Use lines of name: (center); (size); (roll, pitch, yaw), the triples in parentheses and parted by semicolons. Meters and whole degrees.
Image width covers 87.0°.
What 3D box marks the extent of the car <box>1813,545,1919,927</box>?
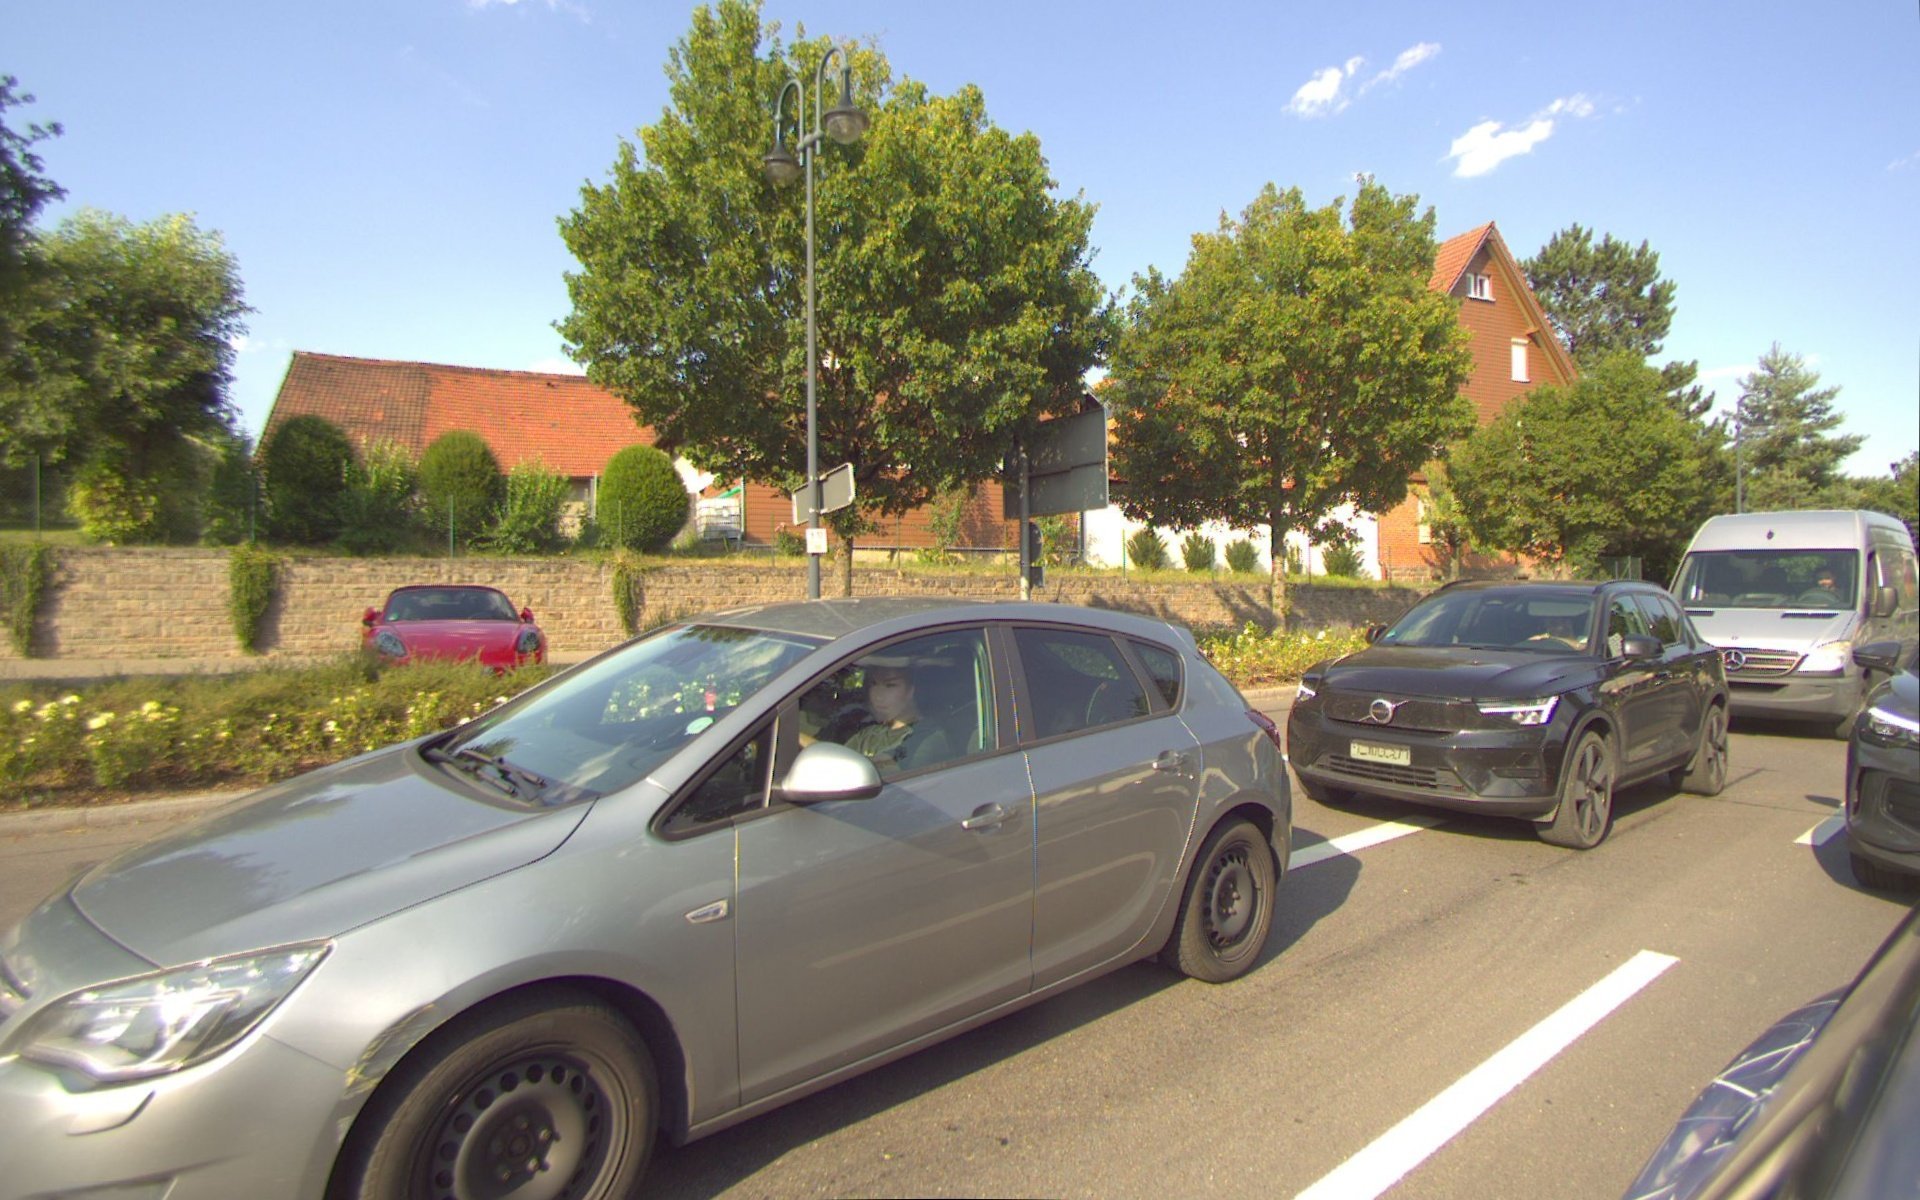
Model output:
car: (6.350, 0.590, 5.493); (4.646, 1.677, 1.893); (0, 0, -40)

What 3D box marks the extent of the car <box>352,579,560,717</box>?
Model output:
car: (-5.808, 0.440, 11.679); (1.816, 1.288, 4.005); (0, 0, -28)

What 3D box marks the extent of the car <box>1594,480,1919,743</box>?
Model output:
car: (10.452, 0.089, 12.814); (6.082, 2.579, 2.369); (0, 0, -40)

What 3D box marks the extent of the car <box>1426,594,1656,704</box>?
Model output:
car: (8.933, 0.644, 15.446); (3.995, 1.469, 1.732); (0, 0, -39)

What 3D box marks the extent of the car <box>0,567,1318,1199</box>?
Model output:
car: (-0.624, 0.666, 3.469); (4.095, 1.460, 1.746); (0, 0, -41)

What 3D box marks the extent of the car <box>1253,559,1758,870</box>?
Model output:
car: (4.103, 0.584, 7.347); (4.054, 1.629, 1.885); (0, 0, -40)
